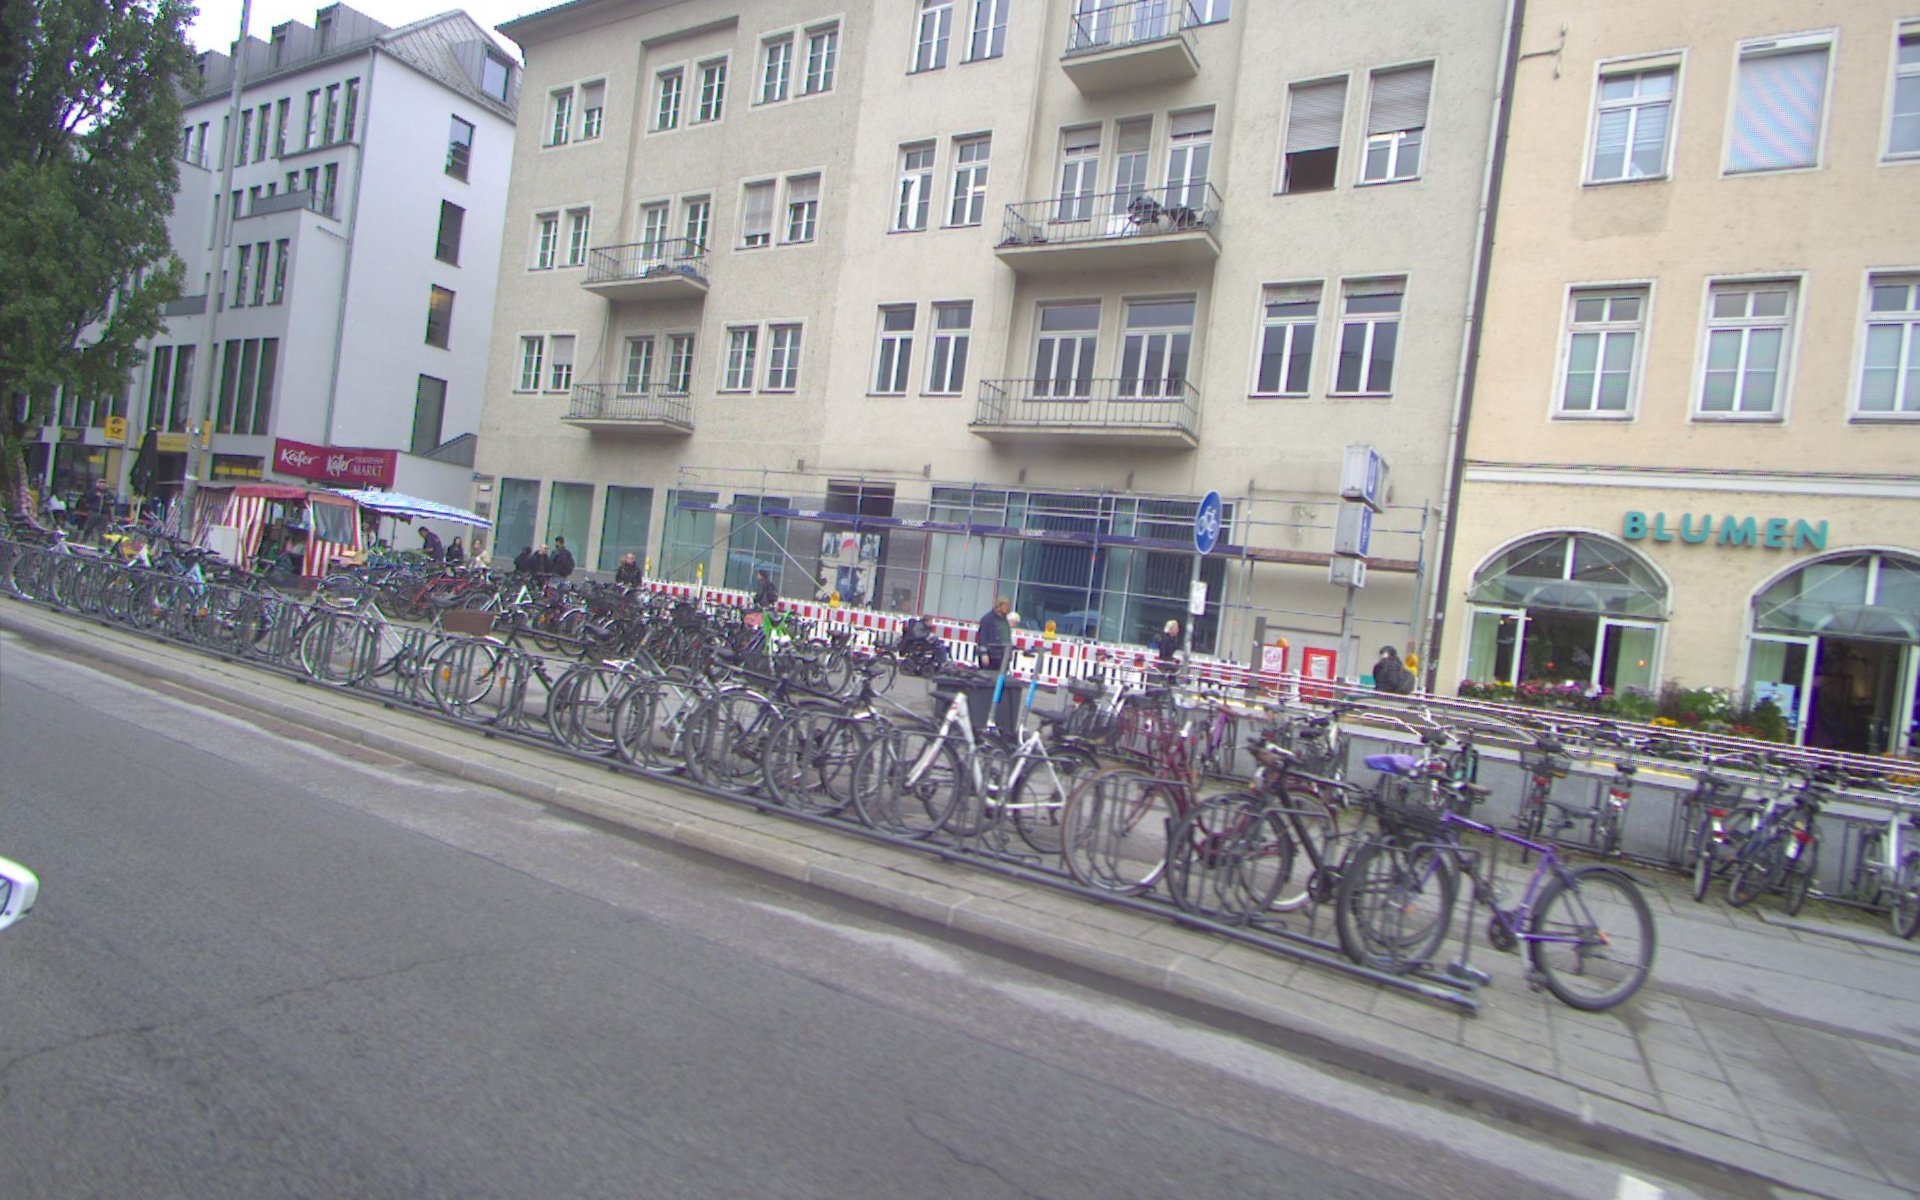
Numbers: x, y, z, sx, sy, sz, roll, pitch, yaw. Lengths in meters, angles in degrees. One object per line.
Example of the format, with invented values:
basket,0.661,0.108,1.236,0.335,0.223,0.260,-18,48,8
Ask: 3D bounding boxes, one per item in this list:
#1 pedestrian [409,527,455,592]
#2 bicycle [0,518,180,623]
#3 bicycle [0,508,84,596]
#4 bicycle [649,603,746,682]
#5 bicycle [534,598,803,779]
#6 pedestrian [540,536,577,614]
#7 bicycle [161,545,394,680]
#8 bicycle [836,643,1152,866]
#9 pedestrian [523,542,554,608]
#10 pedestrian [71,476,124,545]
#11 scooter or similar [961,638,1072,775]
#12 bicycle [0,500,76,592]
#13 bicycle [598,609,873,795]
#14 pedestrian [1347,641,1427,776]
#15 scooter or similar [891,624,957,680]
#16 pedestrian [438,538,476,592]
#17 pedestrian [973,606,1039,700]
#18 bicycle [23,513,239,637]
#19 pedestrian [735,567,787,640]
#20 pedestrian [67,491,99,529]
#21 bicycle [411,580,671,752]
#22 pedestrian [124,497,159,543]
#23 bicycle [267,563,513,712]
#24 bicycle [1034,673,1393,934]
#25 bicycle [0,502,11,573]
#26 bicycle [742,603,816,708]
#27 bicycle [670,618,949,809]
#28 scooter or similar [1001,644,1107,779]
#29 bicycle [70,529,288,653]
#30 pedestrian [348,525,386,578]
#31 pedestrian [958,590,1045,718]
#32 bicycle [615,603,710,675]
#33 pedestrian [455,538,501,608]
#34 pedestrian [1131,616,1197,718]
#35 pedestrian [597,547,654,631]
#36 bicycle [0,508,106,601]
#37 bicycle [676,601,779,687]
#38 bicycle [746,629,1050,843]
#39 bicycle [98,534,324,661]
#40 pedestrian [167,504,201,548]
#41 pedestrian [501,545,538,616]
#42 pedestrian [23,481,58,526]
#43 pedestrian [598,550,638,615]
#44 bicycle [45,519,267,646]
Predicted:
pedestrian,-12.629,-0.966,24.055,0.648,1.443,0.616,8,1,36
bicycle,-11.081,-0.367,12.673,1.810,1.065,0.584,8,0,-17
bicycle,-13.954,-0.756,14.518,1.810,1.150,0.584,8,0,-17
bicycle,-3.619,0.608,13.950,0.363,1.012,1.316,8,0,32
bicycle,-2.179,0.692,7.619,1.785,1.172,0.483,8,0,-29
pedestrian,-9.194,-0.569,23.028,0.594,1.690,0.682,7,1,-23
bicycle,-6.892,0.134,10.251,1.778,1.125,0.560,8,0,-18
bicycle,0.220,0.973,6.278,1.780,1.172,0.545,8,0,-21
pedestrian,-9.927,-0.593,23.700,0.501,1.502,0.462,7,1,-24
pedestrian,-23.850,-2.471,27.828,0.751,1.749,0.791,7,1,31
scooter or similar,0.549,1.052,10.294,0.361,1.190,1.337,7,0,-28
bicycle,-14.456,-0.867,14.937,1.810,1.256,0.584,8,0,-17
bicycle,-1.604,0.768,7.334,1.785,1.172,0.483,8,0,-30
pedestrian,5.795,1.447,13.647,0.709,1.692,0.657,8,2,33
scooter or similar,-0.718,1.028,20.058,1.106,0.956,0.535,7,2,30
pedestrian,-14.009,-0.974,28.020,0.570,1.420,0.575,7,1,31
pedestrian,0.820,0.937,17.810,0.745,1.537,0.778,8,2,29
bicycle,-9.854,-0.285,12.027,1.810,1.212,0.584,8,0,-17
pedestrian,-4.618,0.087,23.309,0.774,1.588,0.649,7,1,32
pedestrian,-33.164,-3.408,38.050,0.665,1.322,0.639,7,1,31
bicycle,-3.383,0.549,8.231,1.782,1.172,0.648,8,0,-24
pedestrian,-30.589,-2.990,37.582,0.665,1.577,0.714,7,1,31
bicycle,-5.143,0.351,9.220,1.781,1.125,0.649,8,0,-22
bicycle,1.409,1.135,5.616,1.777,1.213,0.557,8,0,-16
bicycle,-16.420,-1.119,15.957,1.814,1.150,0.583,8,0,-23
bicycle,-2.375,0.683,13.039,0.365,1.155,1.712,7,0,-26
bicycle,-1.016,0.821,7.054,1.787,1.172,0.482,8,0,-33
scooter or similar,0.940,1.110,10.309,0.298,1.190,1.268,7,1,-28
bicycle,-8.679,-0.092,11.248,1.778,1.125,0.489,8,0,-17
pedestrian,-17.102,-1.394,29.013,0.570,1.420,0.599,7,1,31
pedestrian,0.601,0.782,14.722,0.806,1.750,0.752,6,2,-30
bicycle,-4.193,0.574,14.248,0.363,0.926,1.294,8,0,32
pedestrian,-11.385,-0.649,23.774,0.801,1.541,0.795,7,1,-26
pedestrian,3.585,1.163,17.660,0.745,1.672,0.751,8,2,29
pedestrian,-7.420,-0.238,22.329,0.745,1.750,0.743,8,2,31
bicycle,-13.309,-0.682,14.143,1.810,1.150,0.584,8,0,-17
bicycle,-3.150,0.625,13.762,0.363,1.090,1.419,8,0,32
bicycle,-0.394,0.892,6.550,1.780,1.172,0.545,8,0,-21
bicycle,-8.097,-0.017,10.955,1.778,1.125,0.584,8,0,-17
pedestrian,-29.714,-2.826,38.505,0.665,1.577,0.714,7,1,31
pedestrian,-9.896,-0.445,22.607,0.574,1.523,0.612,7,1,-27
pedestrian,-34.932,-3.671,38.234,0.665,1.577,0.714,7,1,31
pedestrian,-9.311,-0.464,27.392,0.553,1.665,0.641,8,1,31
bicycle,-9.219,-0.189,11.604,1.810,1.182,0.584,8,0,-17
